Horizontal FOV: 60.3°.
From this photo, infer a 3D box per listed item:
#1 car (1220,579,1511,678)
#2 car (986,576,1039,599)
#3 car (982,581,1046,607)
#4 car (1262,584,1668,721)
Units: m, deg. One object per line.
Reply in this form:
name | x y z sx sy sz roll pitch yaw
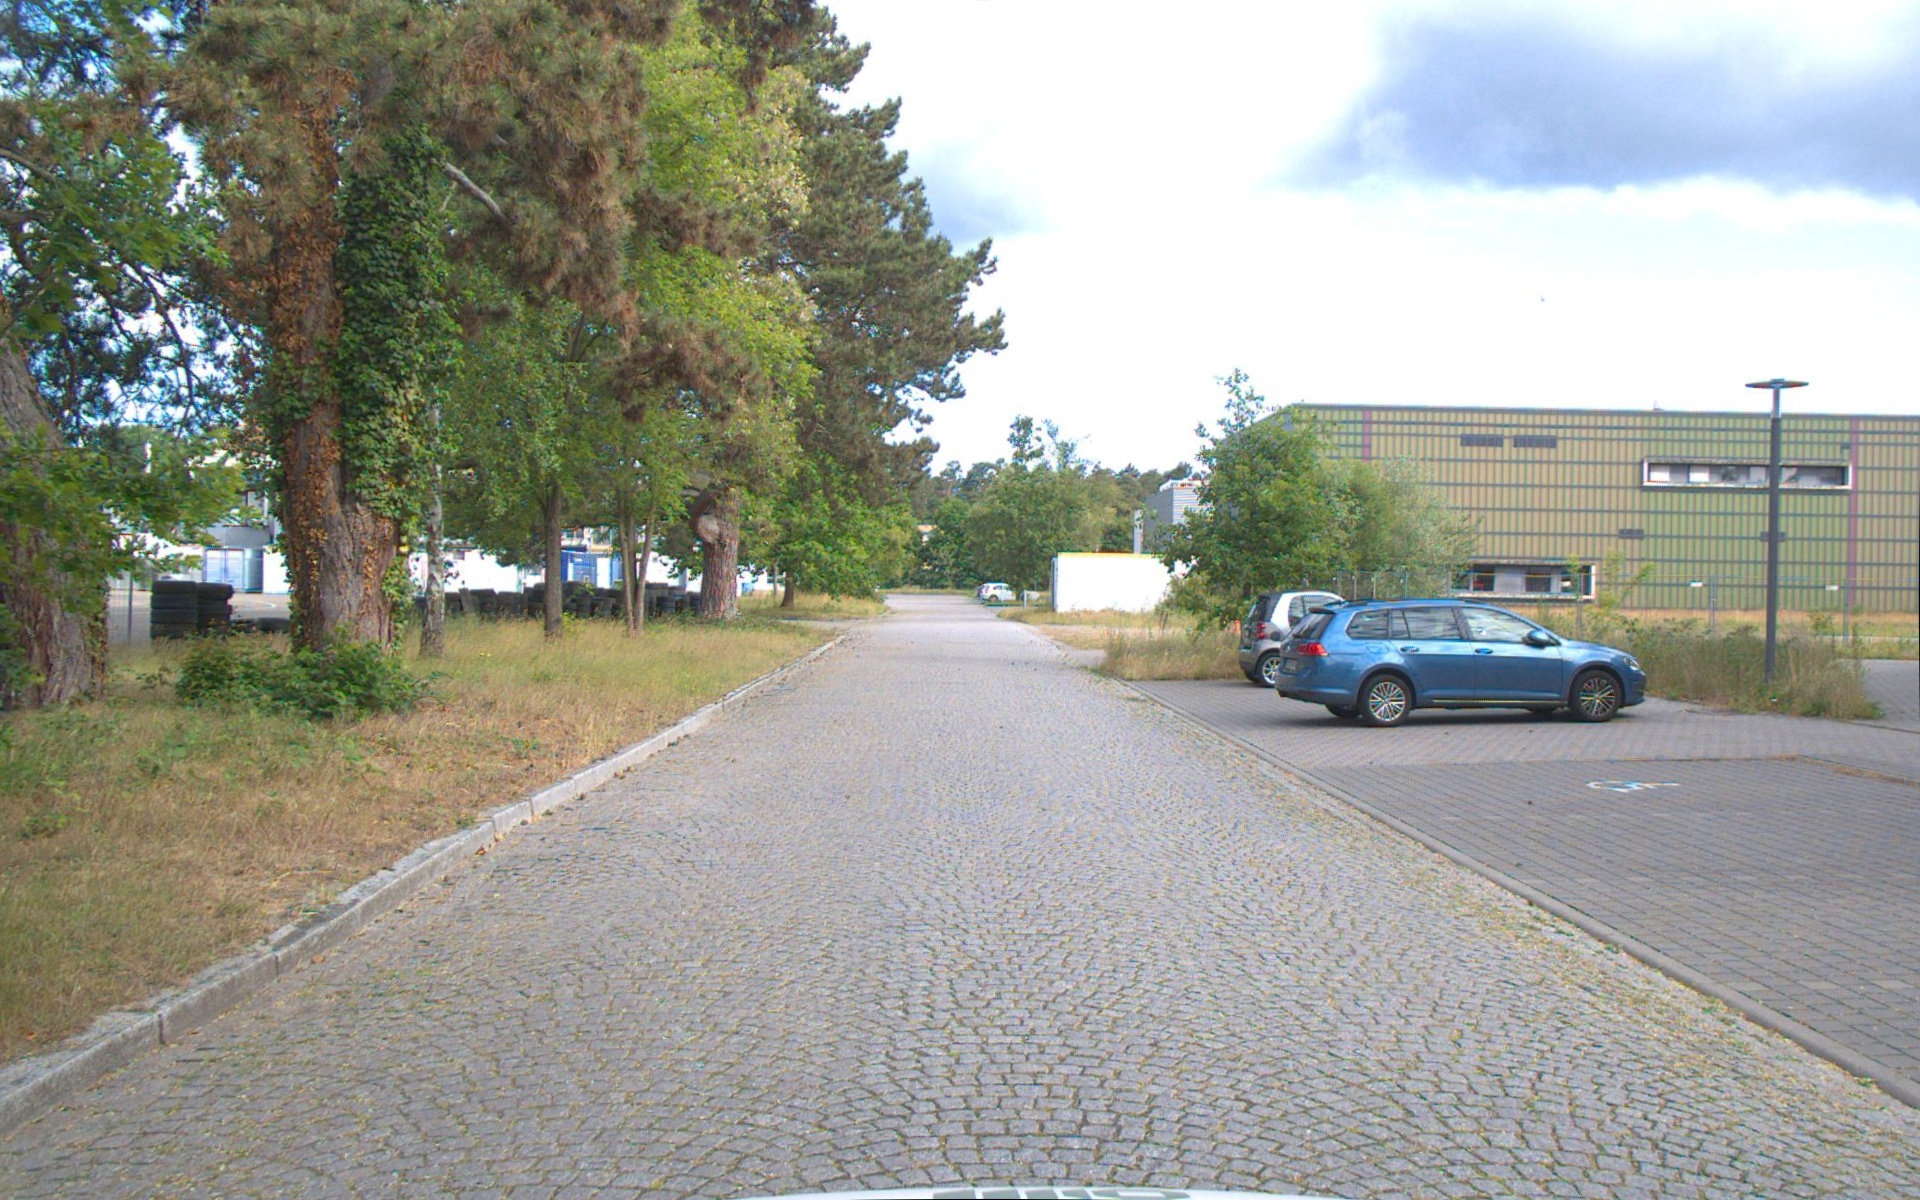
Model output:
car | 6.771 0.448 27.936 4.425 1.558 2.000 -1 1 -1
car | 4.277 -1.050 135.087 4.265 1.811 1.925 1 0 0
car | 3.722 -0.435 114.083 4.267 1.717 1.925 1 0 -2
car | 6.173 0.608 20.558 4.428 1.558 1.999 -1 1 -3
